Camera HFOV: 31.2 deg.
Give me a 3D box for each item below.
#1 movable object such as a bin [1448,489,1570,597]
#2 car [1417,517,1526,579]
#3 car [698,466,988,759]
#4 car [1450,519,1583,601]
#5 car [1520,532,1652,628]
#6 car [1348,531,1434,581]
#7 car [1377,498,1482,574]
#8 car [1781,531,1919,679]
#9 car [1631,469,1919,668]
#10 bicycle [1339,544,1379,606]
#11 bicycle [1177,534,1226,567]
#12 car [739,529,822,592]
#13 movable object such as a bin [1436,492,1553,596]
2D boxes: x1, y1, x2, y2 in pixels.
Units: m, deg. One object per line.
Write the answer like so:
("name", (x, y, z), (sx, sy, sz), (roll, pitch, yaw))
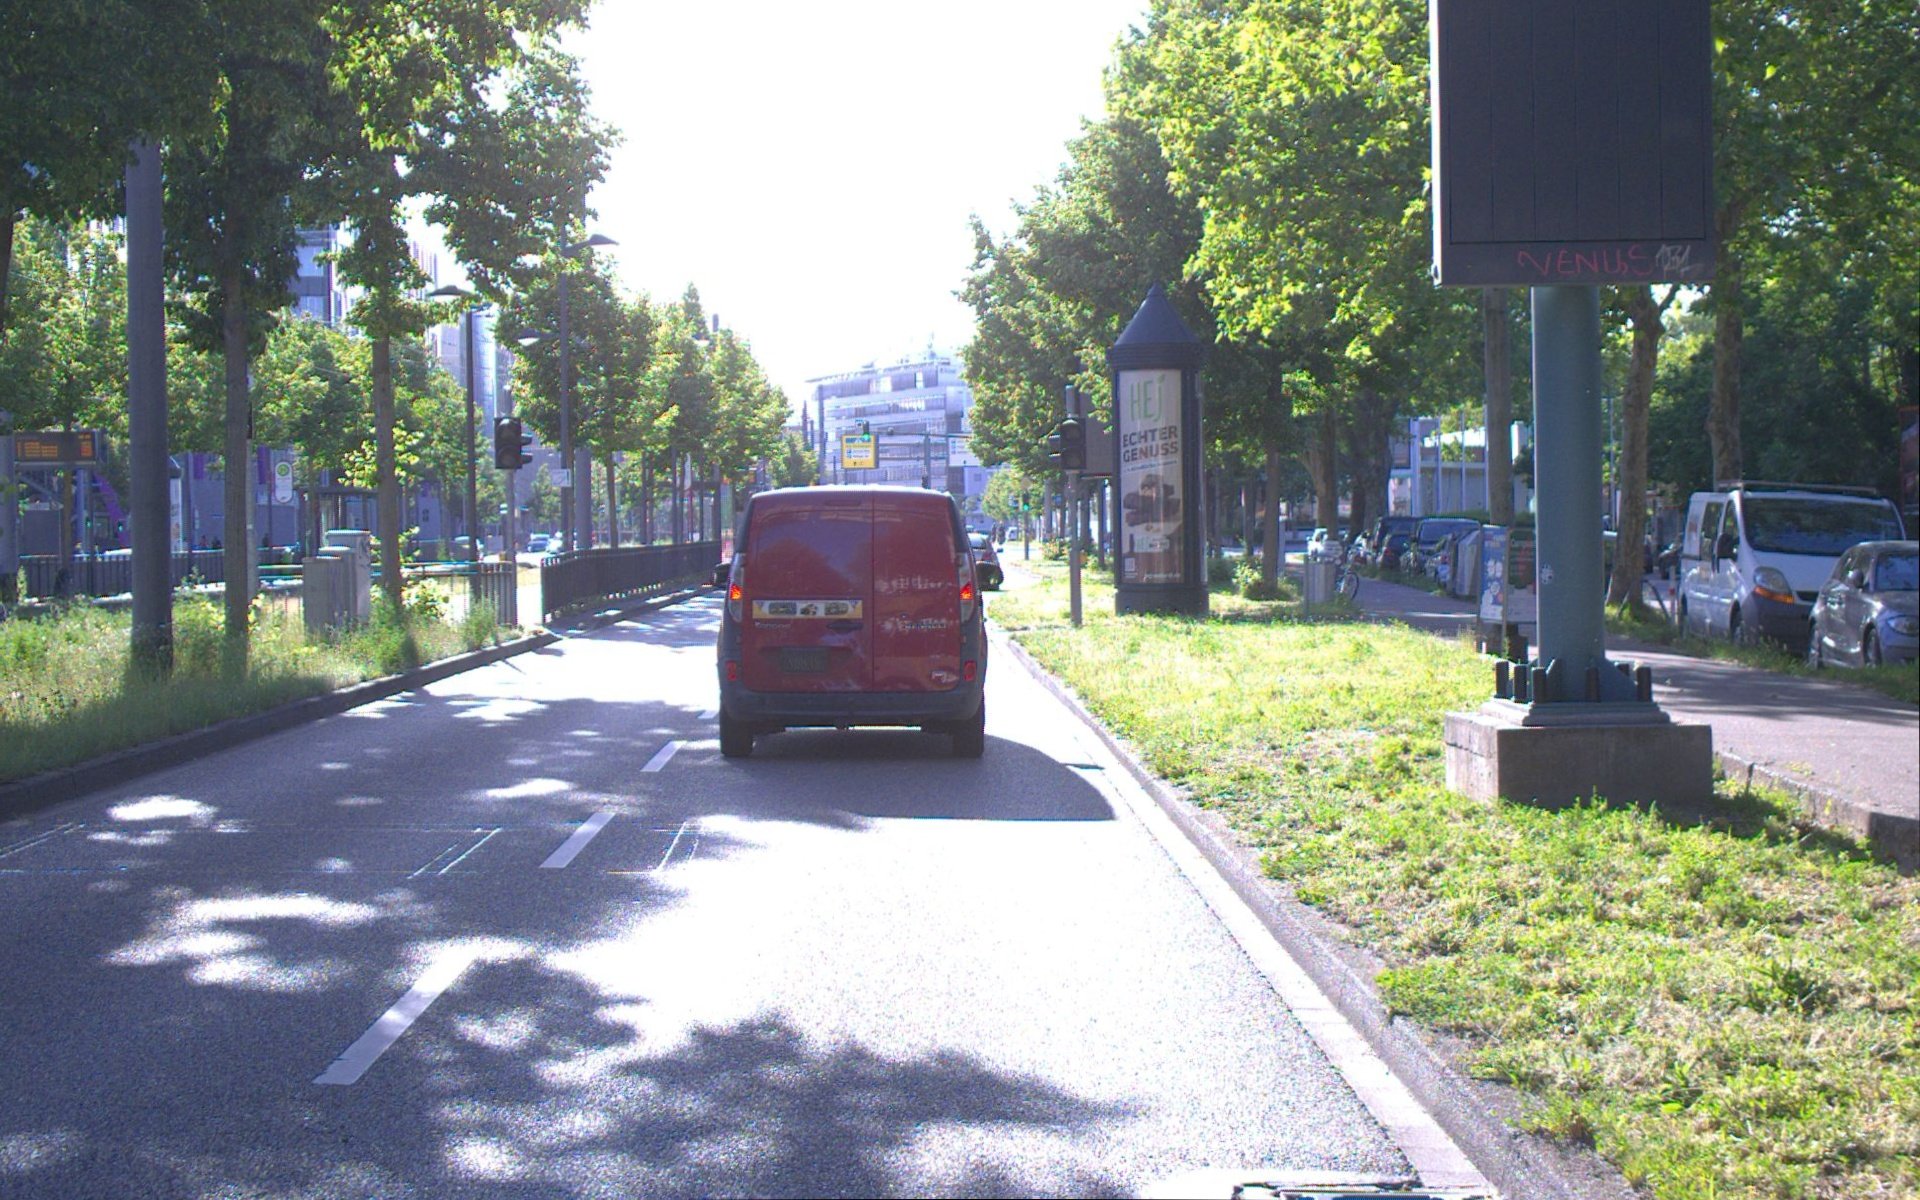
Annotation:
("movable object such as a bin", (10.573, -1.098, 66.299), (2.081, 2.007, 2.136), (1, 1, 3))
("car", (11.940, -1.209, 80.433), (1.871, 1.384, 4.000), (1, 1, -1))
("car", (-0.867, 0.059, 23.856), (1.808, 1.831, 4.001), (1, 1, -4))
("car", (9.977, -0.719, 61.927), (2.000, 1.380, 4.744), (1, 1, 5))
("car", (10.130, -0.334, 55.759), (1.662, 1.495, 2.989), (1, 1, 2))
("car", (12.228, -1.259, 97.767), (1.871, 1.363, 4.000), (1, 1, -1))
("car", (11.722, -1.590, 86.110), (1.871, 1.814, 4.893), (1, 1, -1))
("car", (9.103, 0.038, 31.968), (1.993, 1.285, 4.053), (1, 1, 1))
("car", (9.119, -0.357, 38.230), (2.190, 2.007, 5.820), (1, 1, 1))
("bicycle", (6.935, -0.438, 59.785), (0.493, 1.043, 1.904), (1, 1, 1))
("bicycle", (9.451, -1.933, 134.550), (1.918, 1.264, 0.479), (0, 1, 1))
("car", (-4.727, -1.048, 90.966), (1.993, 1.612, 4.000), (1, 1, 0))
("movable object such as a bin", (10.713, -1.119, 69.062), (2.081, 2.007, 2.136), (1, 1, 3))
